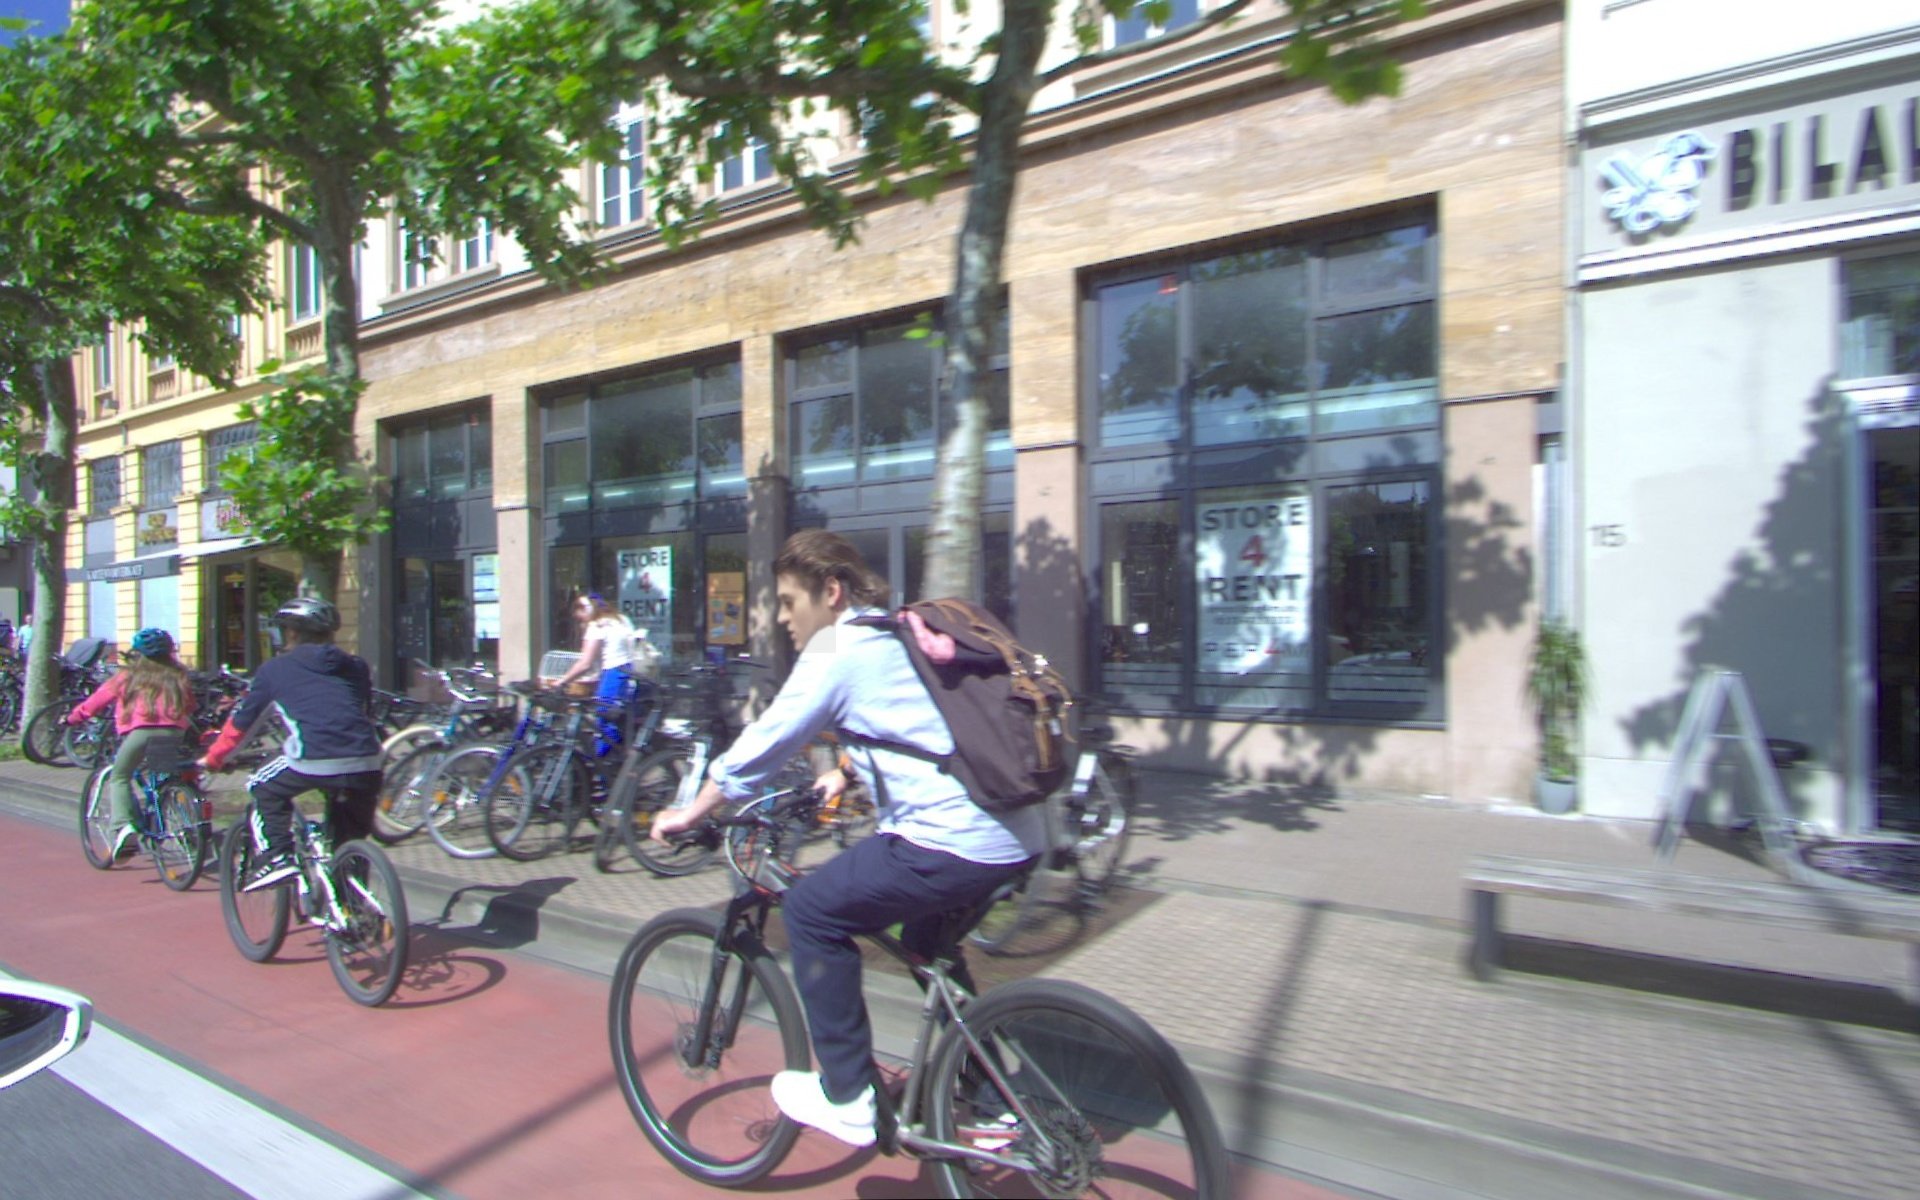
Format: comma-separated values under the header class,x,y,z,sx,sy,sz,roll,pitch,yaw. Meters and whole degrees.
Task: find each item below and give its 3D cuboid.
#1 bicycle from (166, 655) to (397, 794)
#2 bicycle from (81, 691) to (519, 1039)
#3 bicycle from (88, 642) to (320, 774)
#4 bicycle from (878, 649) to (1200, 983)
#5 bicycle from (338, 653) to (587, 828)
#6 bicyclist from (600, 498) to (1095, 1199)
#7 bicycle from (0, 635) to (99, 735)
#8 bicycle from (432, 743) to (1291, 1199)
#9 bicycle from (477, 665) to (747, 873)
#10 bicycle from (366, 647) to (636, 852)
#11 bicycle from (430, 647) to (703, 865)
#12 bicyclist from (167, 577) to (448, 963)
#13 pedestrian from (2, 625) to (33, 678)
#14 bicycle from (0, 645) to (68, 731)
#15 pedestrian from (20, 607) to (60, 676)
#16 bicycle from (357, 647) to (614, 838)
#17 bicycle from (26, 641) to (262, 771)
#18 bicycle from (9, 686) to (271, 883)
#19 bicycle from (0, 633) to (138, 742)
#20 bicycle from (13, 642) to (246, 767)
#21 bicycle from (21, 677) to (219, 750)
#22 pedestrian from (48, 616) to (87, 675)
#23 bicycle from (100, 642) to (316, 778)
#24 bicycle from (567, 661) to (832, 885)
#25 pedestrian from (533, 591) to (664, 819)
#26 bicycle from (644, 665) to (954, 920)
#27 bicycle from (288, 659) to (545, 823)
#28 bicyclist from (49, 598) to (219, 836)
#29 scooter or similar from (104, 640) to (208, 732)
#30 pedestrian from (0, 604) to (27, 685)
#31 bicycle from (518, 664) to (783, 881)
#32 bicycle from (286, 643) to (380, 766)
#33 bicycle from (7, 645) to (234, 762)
class,x,y,z,sx,sy,sz,roll,pitch,yaw
bicycle,-6.126,1.073,9.130,0.598,1.109,1.645,0,-2,34
bicycle,-2.909,1.010,4.354,2.049,1.141,0.698,-1,-2,29
bicycle,-7.673,1.048,10.257,0.468,1.216,1.839,0,-1,34
bicycle,0.484,0.891,4.918,0.726,1.264,1.927,0,-2,34
bicycle,-3.799,1.015,7.792,0.471,1.177,1.724,0,-1,34
bicyclist,-0.247,0.561,2.418,0.946,1.464,0.698,0,-2,29
bicycle,-12.557,1.099,13.088,0.692,1.273,1.938,0,-1,13
bicycle,-0.315,1.005,2.446,2.049,1.141,0.698,-1,-2,29
bicycle,-2.190,1.014,6.528,0.471,1.123,1.724,0,-1,34
bicycle,-3.142,0.961,7.025,0.471,1.233,1.724,0,-1,34
bicycle,-2.534,0.941,6.649,0.471,1.233,1.724,0,-1,34
bicyclist,-2.777,0.663,4.293,0.778,1.459,0.698,0,-2,29
pedestrian,-30.256,1.651,32.155,0.668,1.654,0.539,-1,-2,30
bicycle,-13.302,1.203,13.533,0.554,1.137,1.780,0,0,29
pedestrian,-24.967,1.118,27.178,0.578,1.825,0.550,-1,0,-12
bicycle,-3.453,0.977,7.442,0.471,1.233,1.724,0,-1,34
bicycle,-8.468,1.051,10.481,0.537,1.216,1.839,0,-1,34
bicycle,-5.145,1.074,6.243,2.056,0.938,0.599,0,-1,31
bicycle,-11.897,1.092,13.034,0.676,1.325,1.826,0,-1,12
bicycle,-8.870,1.065,10.780,0.600,1.216,1.839,0,-2,34
bicycle,-10.185,1.351,12.238,0.646,0.725,1.849,0,-2,11
pedestrian,-24.516,1.233,27.503,0.578,1.590,0.550,-1,0,-12
bicycle,-7.396,1.037,9.930,0.468,1.216,1.645,0,-1,34
bicycle,-1.502,0.957,6.080,0.397,1.123,1.724,0,-1,34
pedestrian,-2.747,0.763,7.617,0.734,1.633,0.614,0,-1,33
bicycle,-0.820,0.954,5.586,0.726,1.123,1.724,0,-2,34
bicycle,-4.268,1.051,7.991,0.598,1.109,1.724,0,-2,34
bicyclist,-5.137,0.682,6.235,0.710,1.375,0.599,1,0,31
scooter or similar,-10.866,1.148,13.538,1.208,1.193,0.422,0,-1,12
pedestrian,-22.026,1.033,22.953,1.216,1.812,0.656,-3,-2,32
bicycle,-1.860,0.991,6.277,0.397,1.123,1.724,0,-1,34
bicycle,-6.707,1.068,10.678,1.637,1.203,0.470,-1,-2,44
bicycle,-9.333,1.101,11.213,0.650,1.179,1.839,0,-2,34
